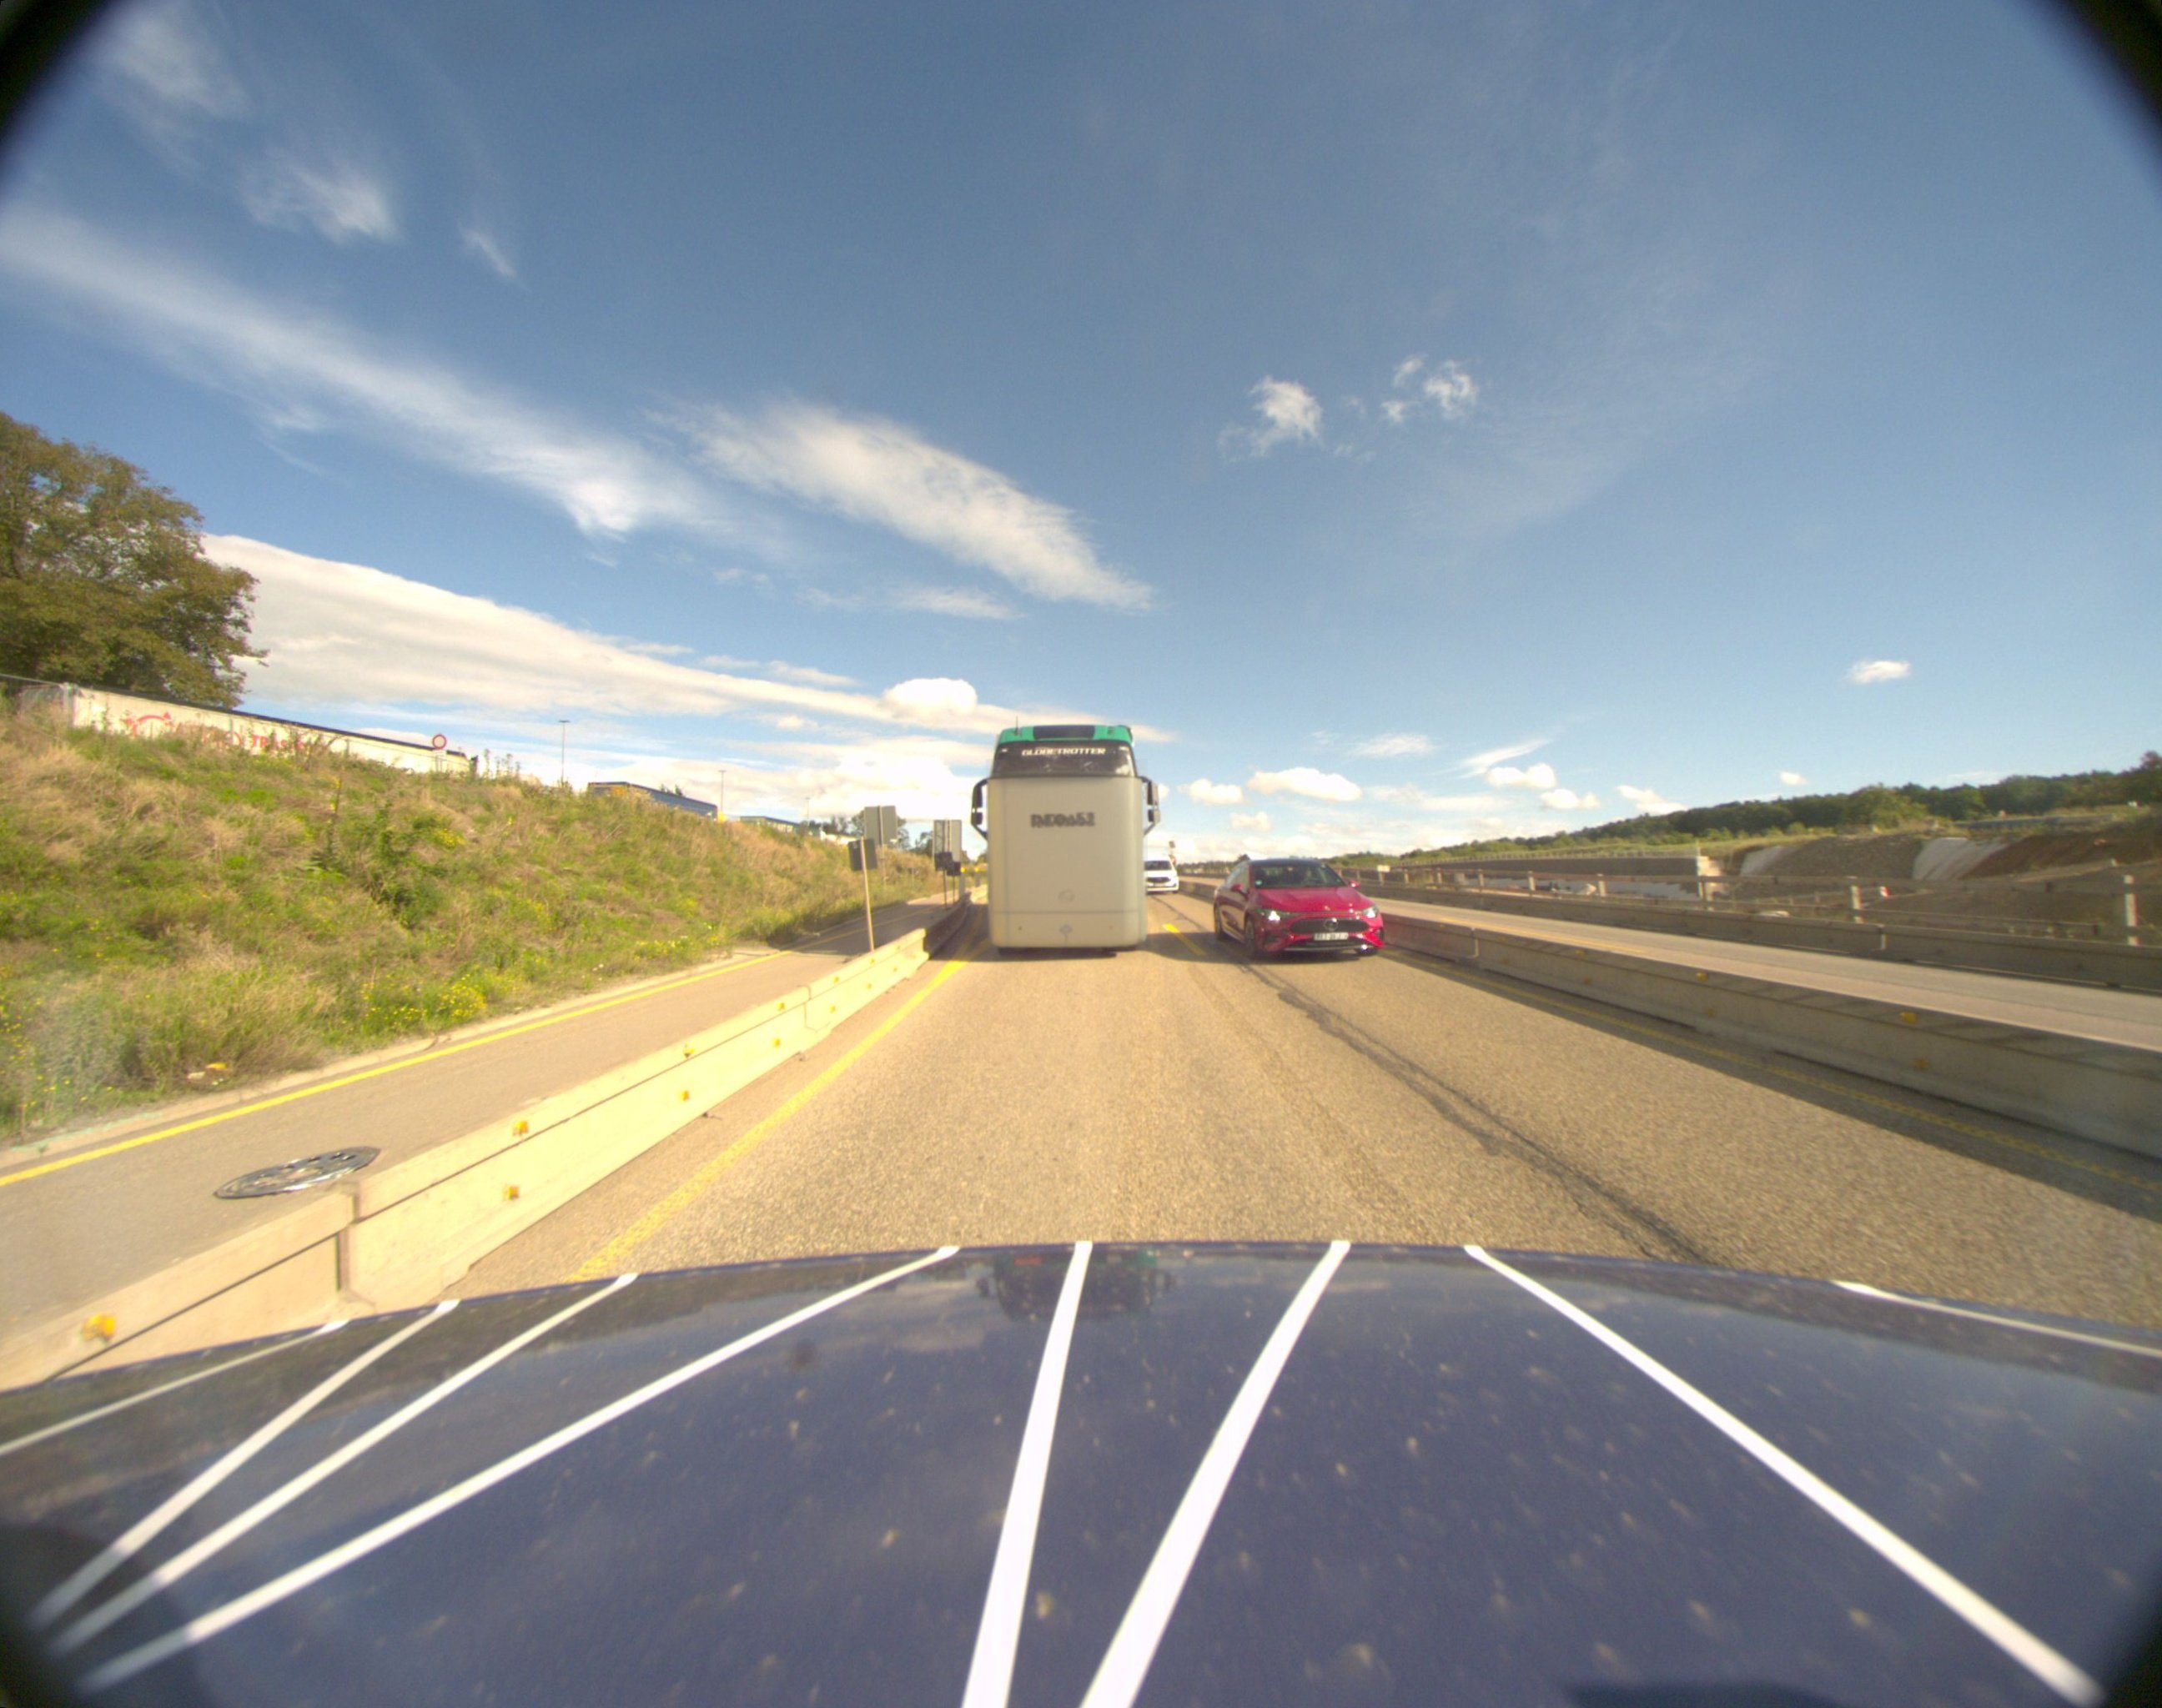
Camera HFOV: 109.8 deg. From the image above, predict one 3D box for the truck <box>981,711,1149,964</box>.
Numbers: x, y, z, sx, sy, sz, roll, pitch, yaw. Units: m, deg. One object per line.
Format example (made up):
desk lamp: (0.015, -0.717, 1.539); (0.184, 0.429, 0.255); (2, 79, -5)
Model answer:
truck: (-0.209, -0.273, 16.038); (2.546, 3.899, 8.279); (-1, 0, 1)

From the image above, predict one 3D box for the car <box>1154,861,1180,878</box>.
car: (7.546, 1.351, 66.739); (1.827, 1.483, 4.000); (0, 0, 0)

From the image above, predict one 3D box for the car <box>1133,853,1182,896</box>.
car: (3.538, 0.898, 35.782); (1.827, 1.813, 4.456); (-3, 0, 1)

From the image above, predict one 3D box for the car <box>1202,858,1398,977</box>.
car: (3.270, 0.856, 12.395); (1.827, 1.483, 4.684); (-3, 0, 1)

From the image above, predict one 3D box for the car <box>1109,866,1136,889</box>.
car: (2.984, 1.682, 55.450); (1.719, 1.499, 4.000); (-2, 0, 1)
